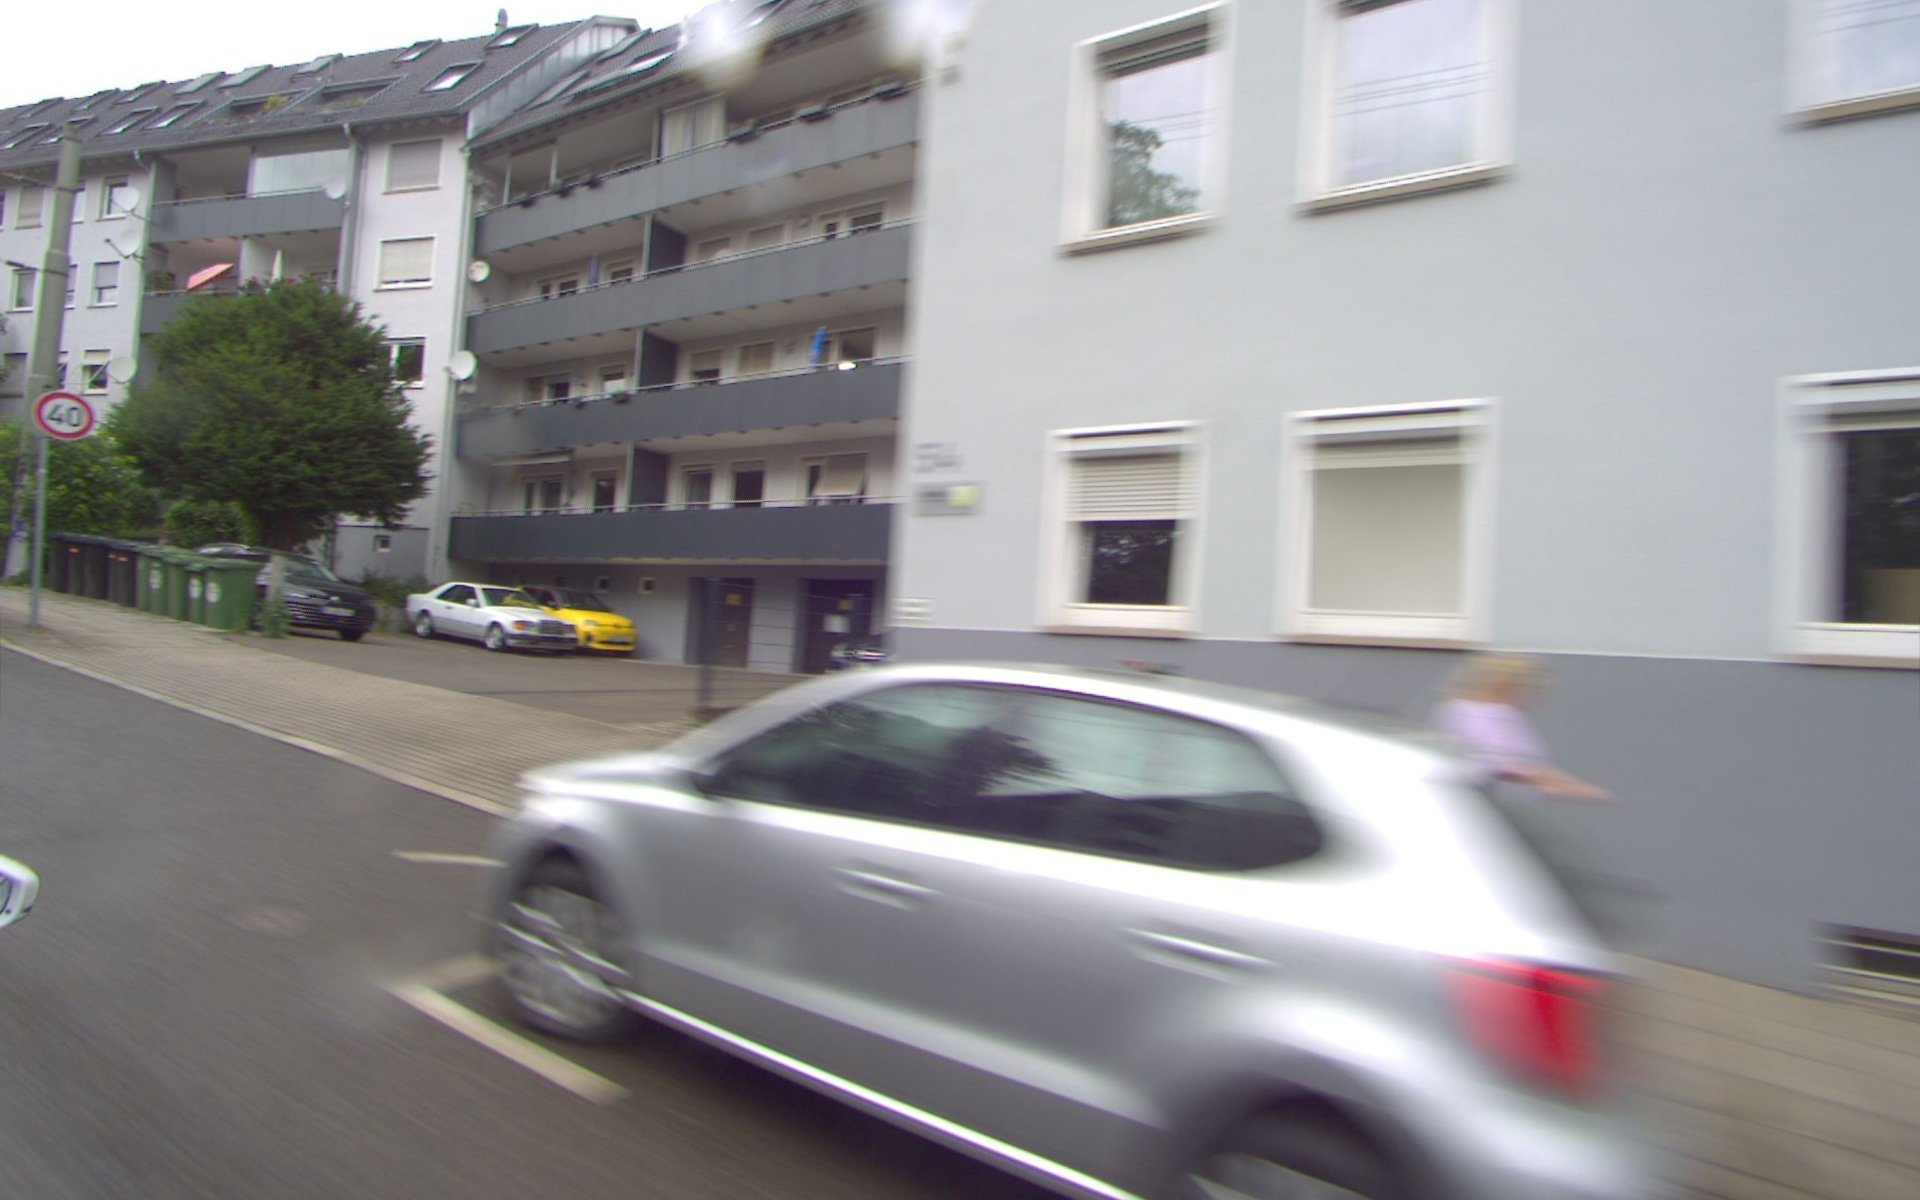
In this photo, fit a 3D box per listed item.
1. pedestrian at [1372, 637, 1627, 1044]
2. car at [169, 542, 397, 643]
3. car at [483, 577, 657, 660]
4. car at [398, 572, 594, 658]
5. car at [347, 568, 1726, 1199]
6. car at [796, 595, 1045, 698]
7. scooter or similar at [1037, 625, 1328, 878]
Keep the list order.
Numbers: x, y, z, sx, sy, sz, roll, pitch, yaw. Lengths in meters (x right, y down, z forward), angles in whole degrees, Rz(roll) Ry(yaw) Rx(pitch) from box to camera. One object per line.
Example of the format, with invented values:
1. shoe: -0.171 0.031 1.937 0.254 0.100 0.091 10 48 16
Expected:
1. pedestrian: 2.569 1.042 4.765 0.788 1.603 0.883 8 2 34
2. car: -12.224 -0.143 18.114 4.136 1.531 1.724 2 -4 31
3. car: -9.553 0.441 24.558 4.134 1.539 1.687 6 -1 32
4. car: -10.460 0.328 22.582 4.357 1.394 1.780 6 -2 32
5. car: -0.070 0.875 3.486 4.033 1.449 1.709 6 -3 31
6. car: -0.524 0.810 17.060 1.792 1.450 4.366 3 -1 37
7. scooter or similar: 1.404 0.919 6.522 1.585 1.264 0.575 9 0 37
